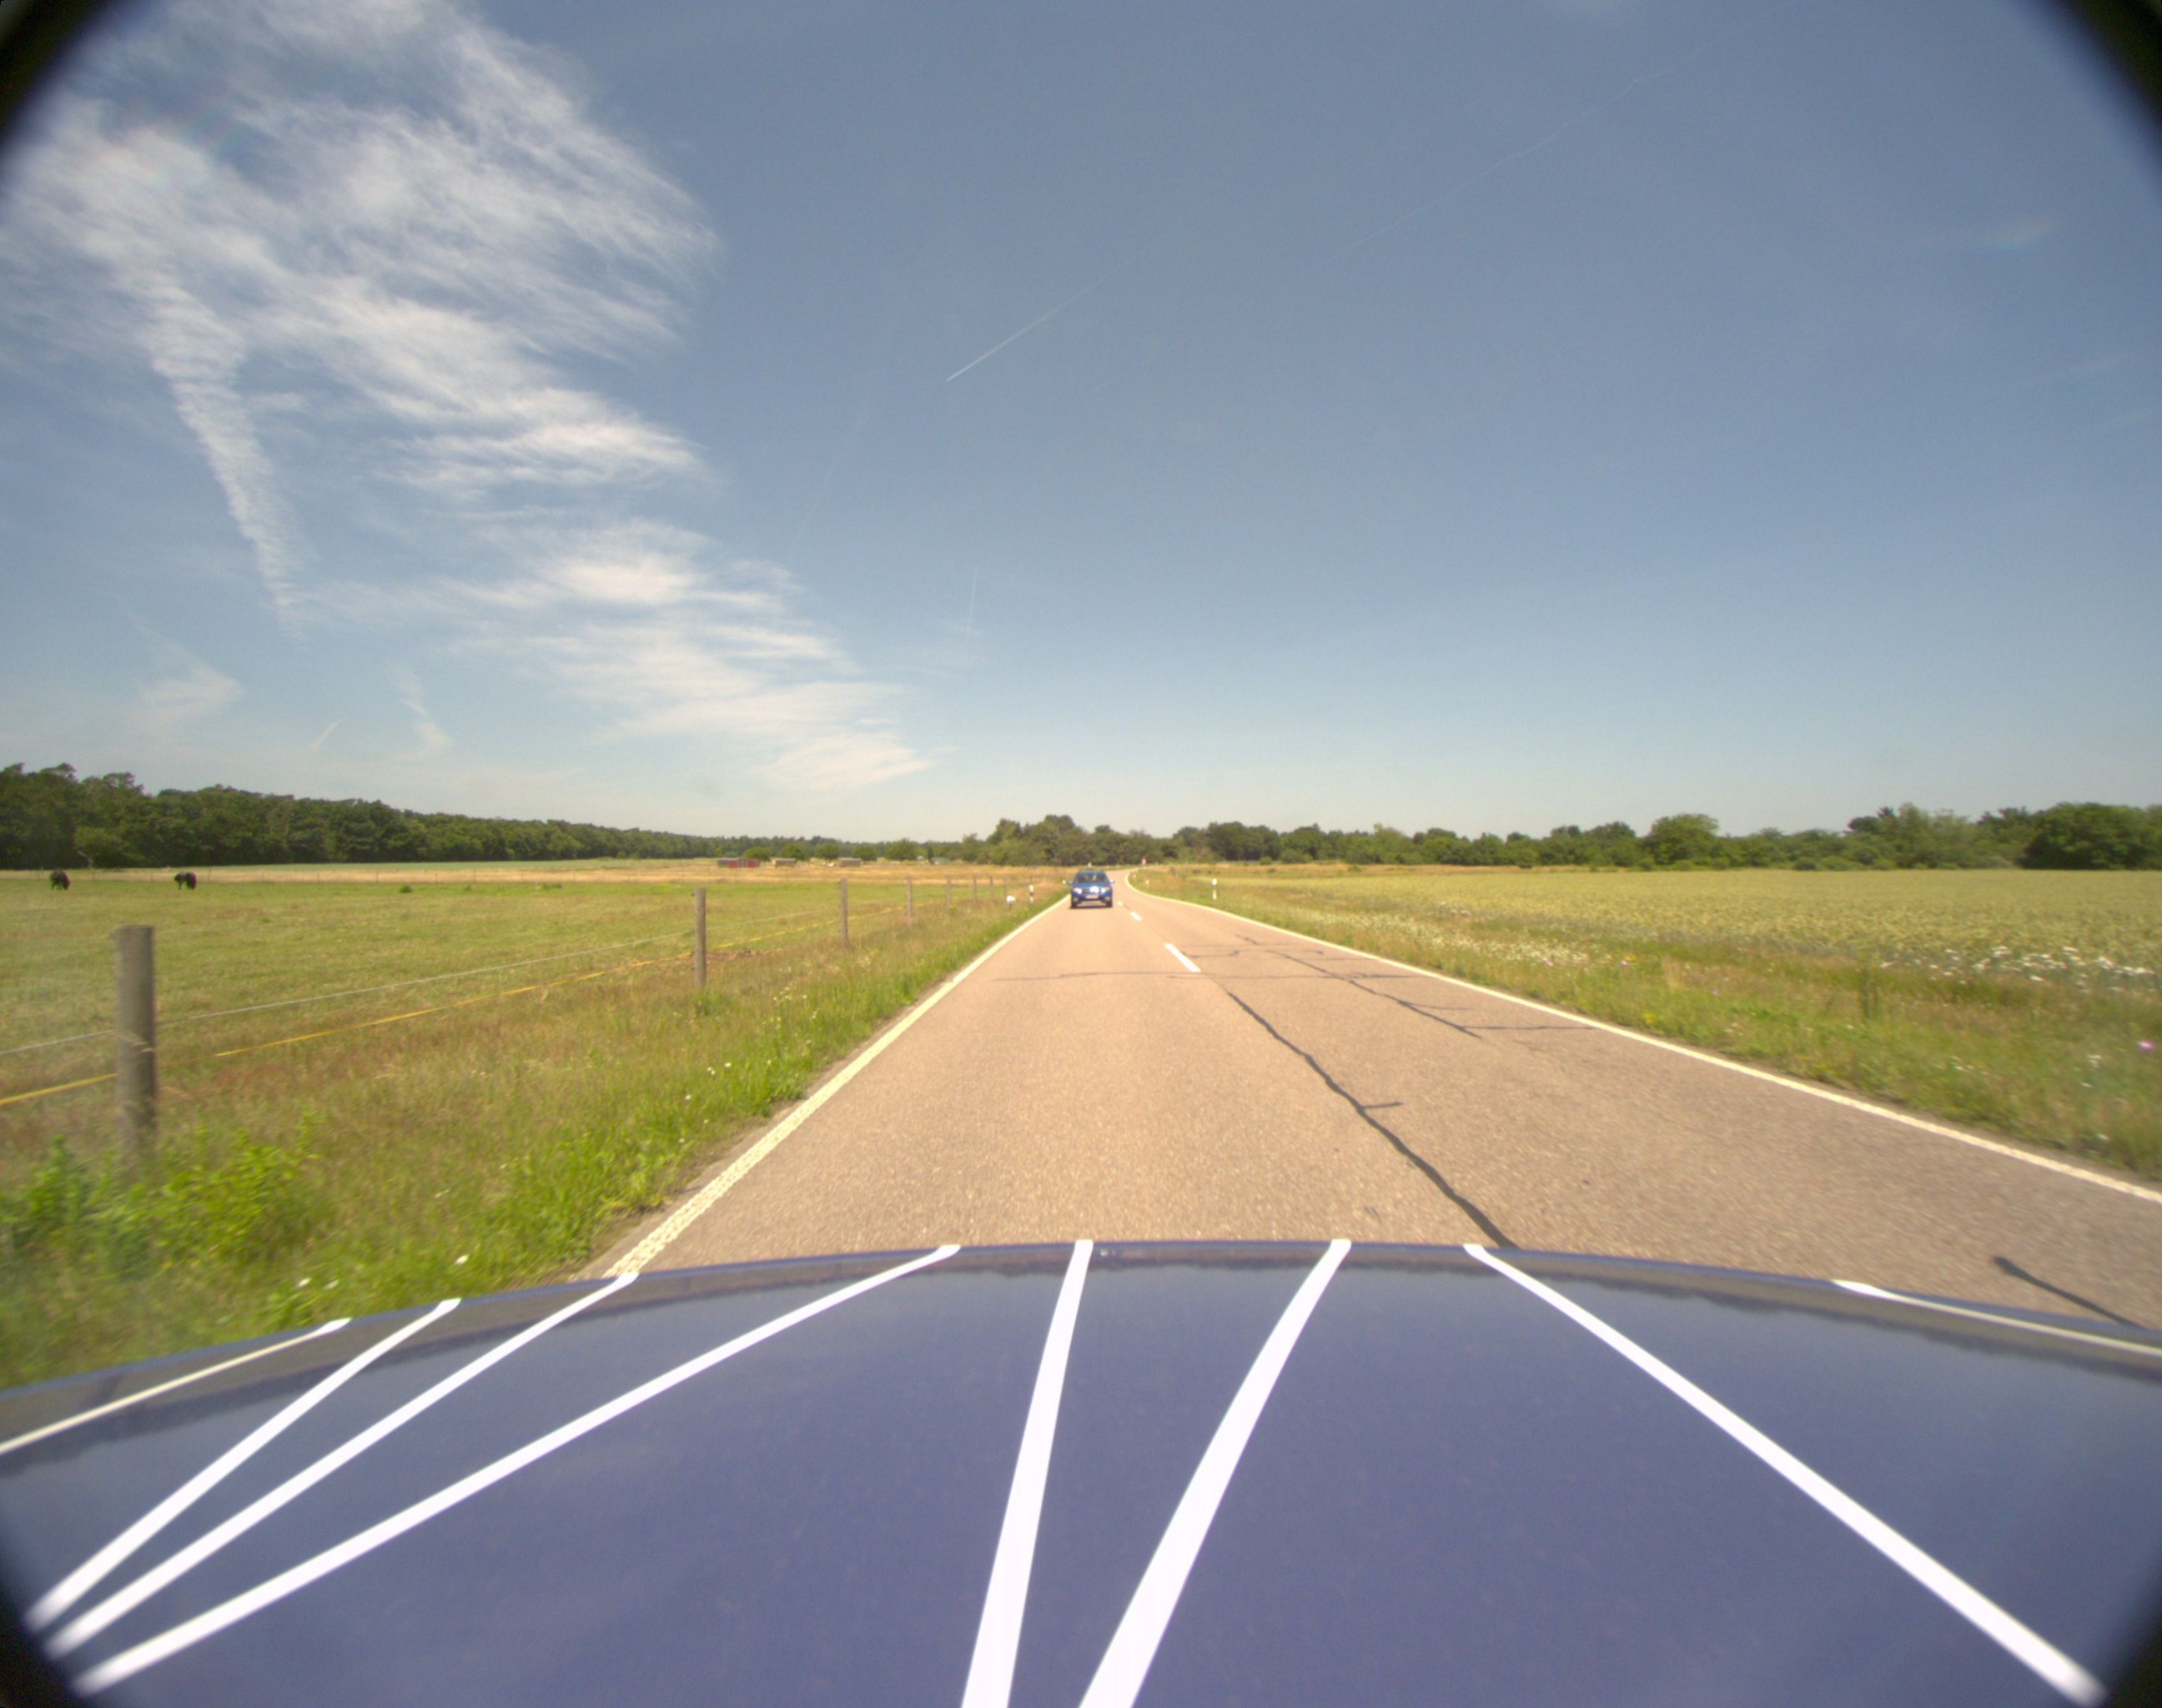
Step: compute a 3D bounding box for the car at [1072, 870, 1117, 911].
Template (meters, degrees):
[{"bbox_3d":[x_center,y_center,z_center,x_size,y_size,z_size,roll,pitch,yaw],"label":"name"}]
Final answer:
[{"bbox_3d":[0.555,1.513,32.640,1.734,1.571,4.001,-2,-2,0],"label":"car"}]
